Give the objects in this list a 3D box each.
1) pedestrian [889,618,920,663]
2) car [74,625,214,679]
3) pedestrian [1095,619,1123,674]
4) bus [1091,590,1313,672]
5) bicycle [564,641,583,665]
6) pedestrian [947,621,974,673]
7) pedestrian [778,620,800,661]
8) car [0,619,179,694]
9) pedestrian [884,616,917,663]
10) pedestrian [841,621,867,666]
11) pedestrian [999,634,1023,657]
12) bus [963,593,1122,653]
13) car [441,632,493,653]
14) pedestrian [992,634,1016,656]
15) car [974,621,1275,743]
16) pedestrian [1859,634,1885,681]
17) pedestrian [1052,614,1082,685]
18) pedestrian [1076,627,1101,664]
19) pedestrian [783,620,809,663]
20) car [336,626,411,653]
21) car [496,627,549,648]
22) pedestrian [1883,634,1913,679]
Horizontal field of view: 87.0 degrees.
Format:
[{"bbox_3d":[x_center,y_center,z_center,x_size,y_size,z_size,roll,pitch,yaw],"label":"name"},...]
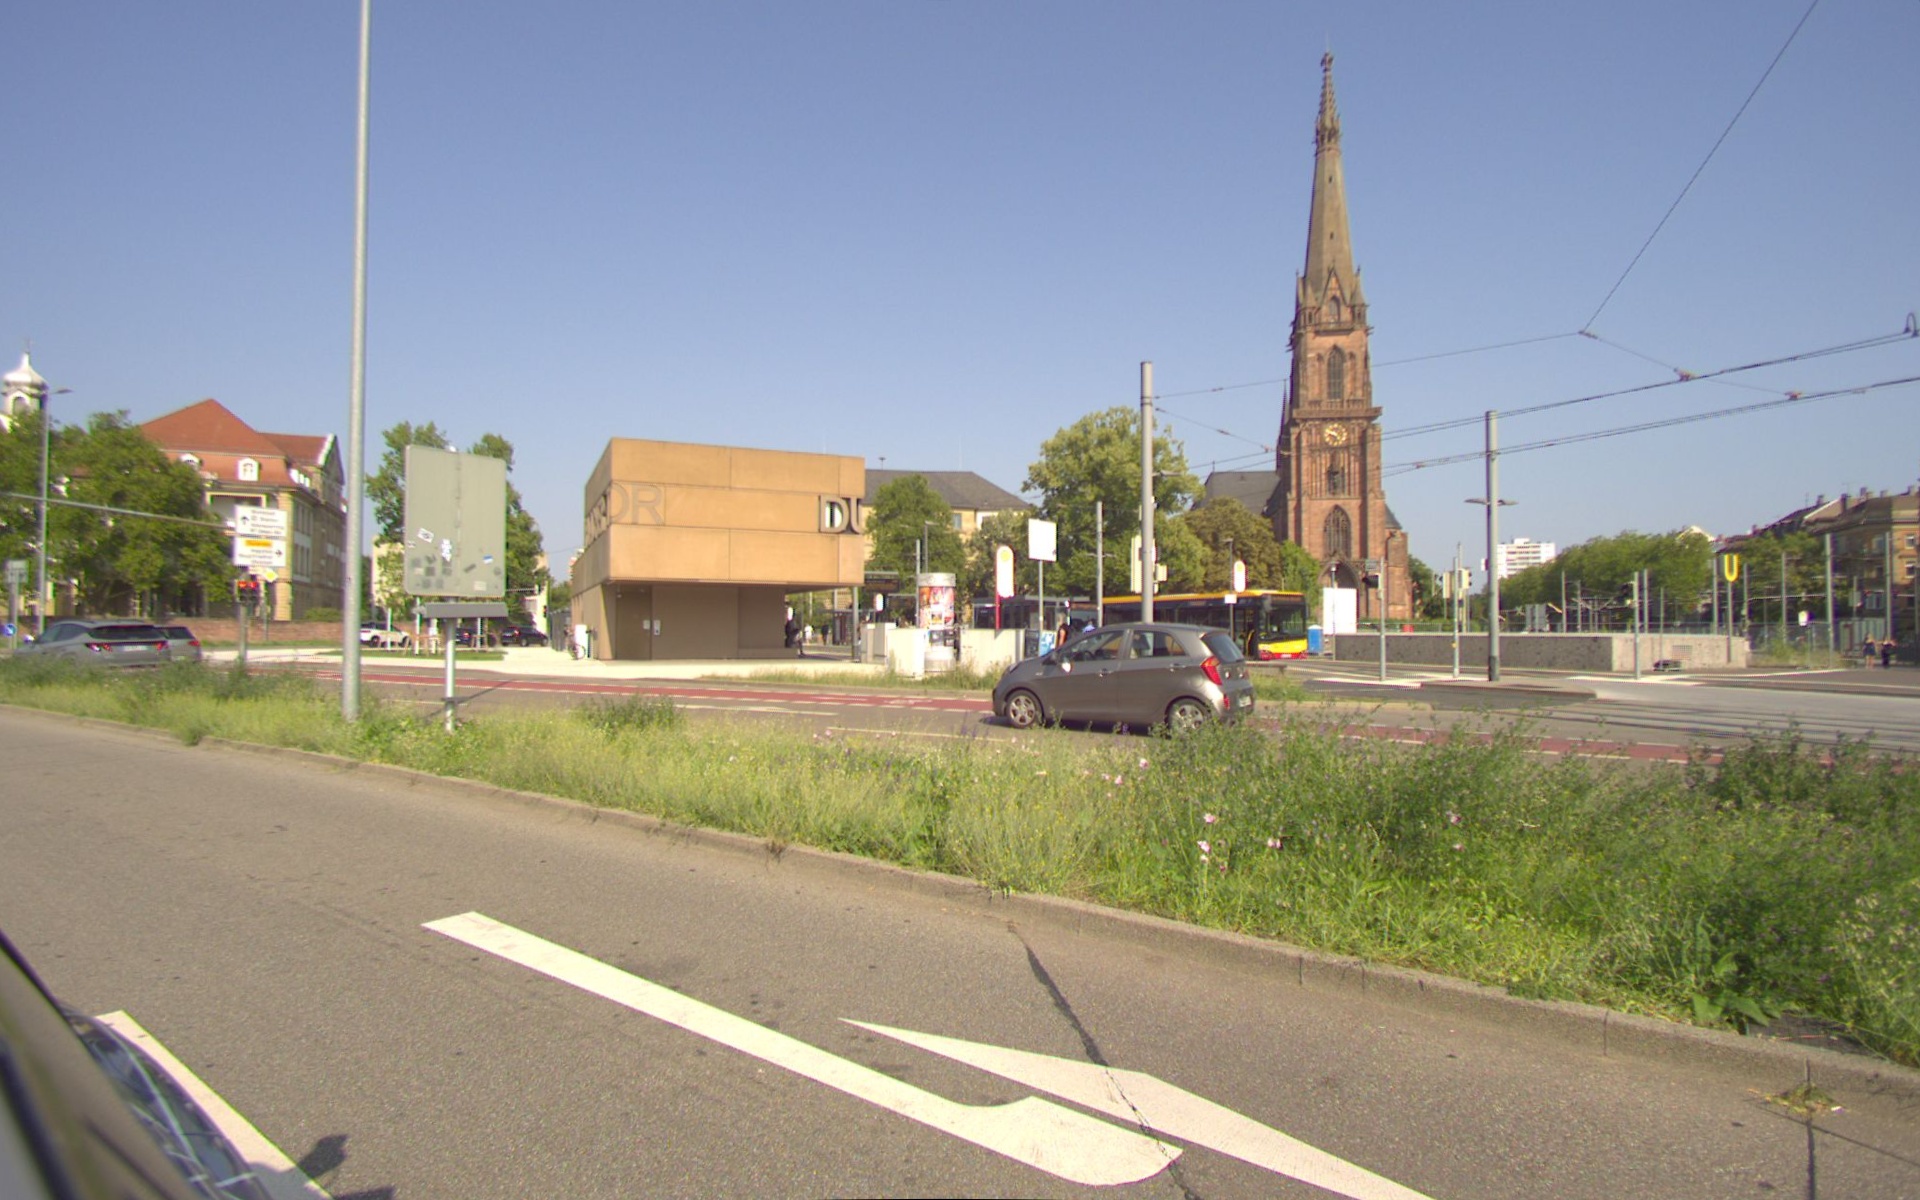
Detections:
[{"bbox_3d":[-1.982,1.449,36.032,0.851,1.571,0.993,1,-2,-17],"label":"pedestrian"},{"bbox_3d":[-23.564,1.452,29.193,4.209,1.444,1.800,-1,-2,31],"label":"car"},{"bbox_3d":[4.984,1.546,33.818,0.698,1.814,0.772,-1,-2,31],"label":"pedestrian"},{"bbox_3d":[10.182,1.398,44.875,2.669,3.132,12.254,1,-2,-24],"label":"bus"},{"bbox_3d":[-14.584,1.991,38.126,0.582,0.844,1.552,-2,-1,-23],"label":"bicycle"},{"bbox_3d":[0.005,1.677,36.143,0.689,1.814,0.782,1,-2,-27],"label":"pedestrian"},{"bbox_3d":[-7.443,1.750,44.111,0.707,1.751,0.859,1,-2,-26],"label":"pedestrian"},{"bbox_3d":[-20.628,1.285,23.909,4.438,1.630,1.684,-1,-2,27],"label":"car"},{"bbox_3d":[-2.196,1.460,37.302,0.861,1.685,0.981,-1,-2,25],"label":"pedestrian"},{"bbox_3d":[-3.977,1.628,37.786,0.707,1.642,0.859,1,-2,-26],"label":"pedestrian"},{"bbox_3d":[2.565,2.302,50.941,1.013,1.142,0.740,1,-2,-32],"label":"pedestrian"},{"bbox_3d":[4.259,1.359,57.527,3.242,3.000,12.838,1,-2,-24],"label":"bus"},{"bbox_3d":[-36.509,3.155,75.011,1.607,1.509,3.840,0,-2,8],"label":"car"},{"bbox_3d":[2.250,2.305,51.755,1.013,1.142,0.740,1,-2,-32],"label":"pedestrian"},{"bbox_3d":[2.221,1.041,13.927,3.665,1.463,1.873,-1,-2,34],"label":"car"},{"bbox_3d":[37.232,2.345,41.304,0.651,1.880,0.713,-2,-3,35],"label":"pedestrian"},{"bbox_3d":[2.781,1.270,26.302,0.691,1.814,0.780,0,-2,-1],"label":"pedestrian"},{"bbox_3d":[6.093,2.151,47.925,0.816,1.752,0.838,1,-2,-28],"label":"pedestrian"},{"bbox_3d":[-6.624,1.675,40.915,0.851,1.718,0.734,1,-2,-28],"label":"pedestrian"},{"bbox_3d":[-37.870,2.537,65.458,1.976,1.646,4.362,0,-2,7],"label":"car"},{"bbox_3d":[-35.172,3.022,81.408,1.976,1.646,4.362,0,-2,7],"label":"car"},{"bbox_3d":[37.909,2.292,40.925,0.750,1.796,0.699,-2,-3,35],"label":"pedestrian"}]
